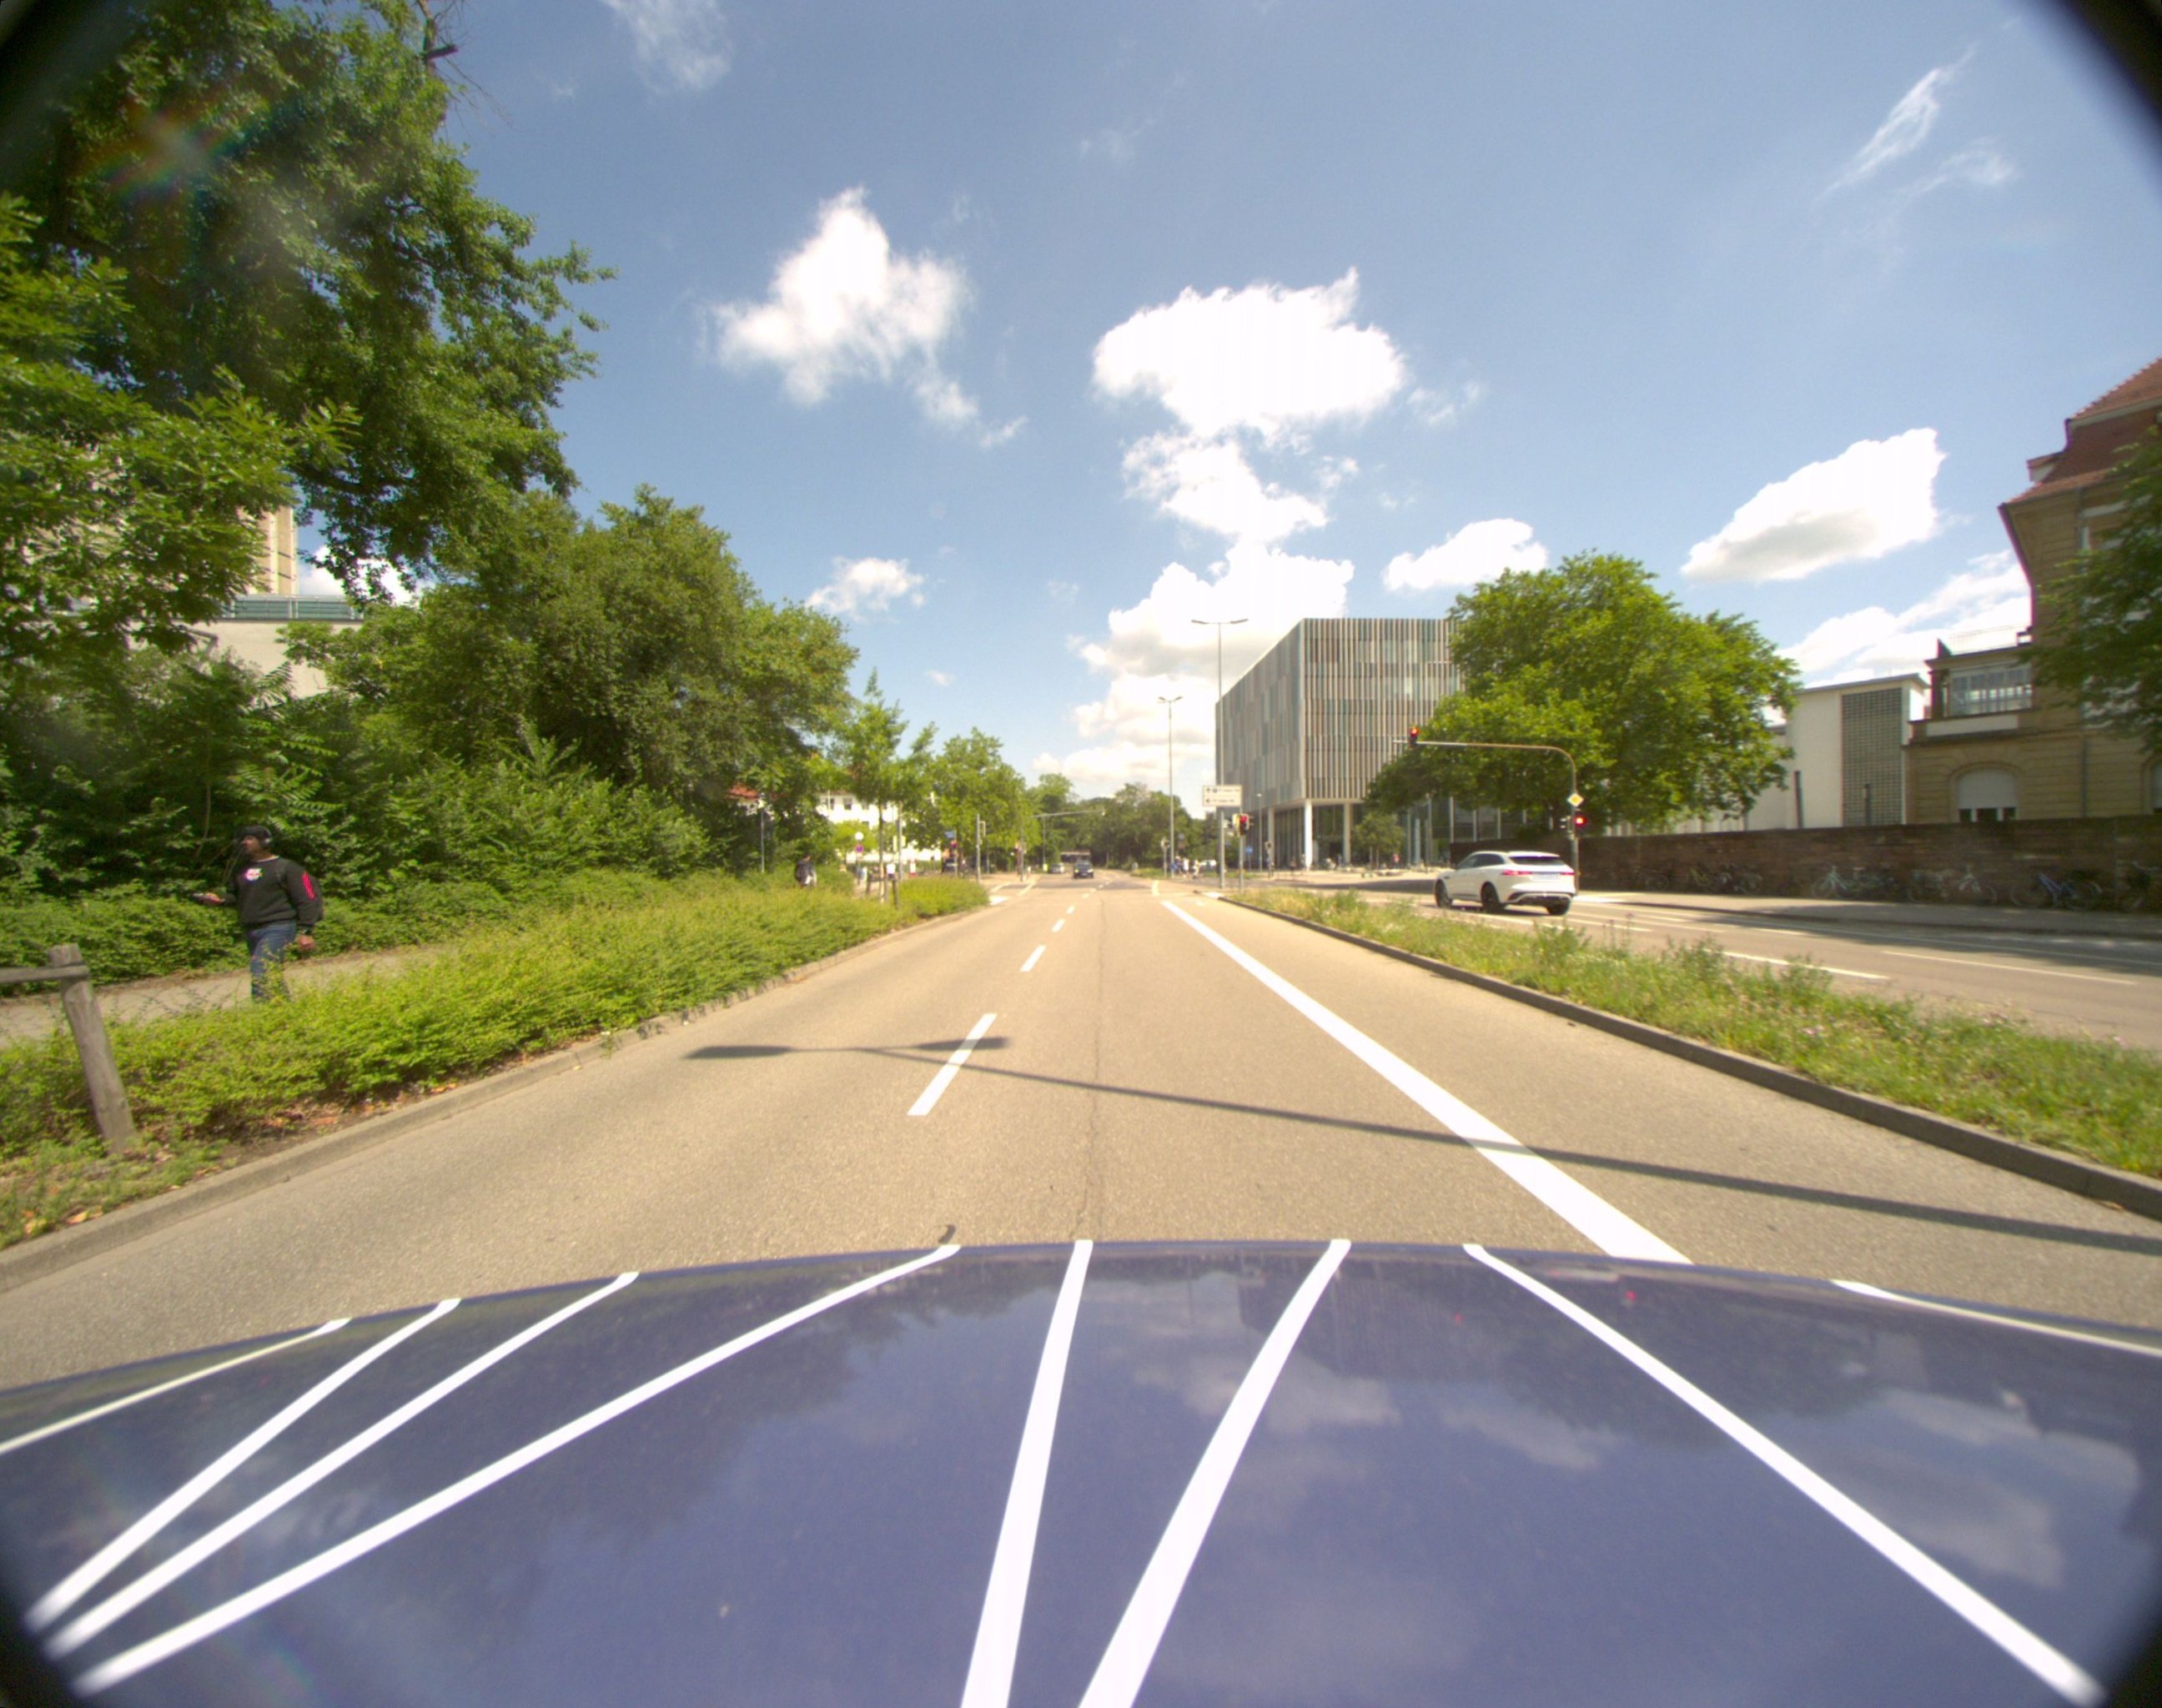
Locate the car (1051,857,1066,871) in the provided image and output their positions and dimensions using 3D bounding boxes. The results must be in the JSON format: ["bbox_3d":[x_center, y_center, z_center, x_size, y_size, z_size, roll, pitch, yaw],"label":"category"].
[{"bbox_3d":[-3.157,1.372,104.963,1.913,1.772,3.999,-1,0,-3],"label":"car"}]

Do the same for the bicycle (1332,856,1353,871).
[{"bbox_3d":[27.946,1.023,81.176,2.693,1.485,0.930,-1,0,-44],"label":"bicycle"}]

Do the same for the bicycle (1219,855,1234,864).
[{"bbox_3d":[24.188,0.942,126.039,2.302,1.486,0.657,-1,0,1],"label":"bicycle"}]

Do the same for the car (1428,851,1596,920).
[{"bbox_3d":[11.589,0.785,20.908,2.076,1.657,4.776,-1,0,2],"label":"car"}]

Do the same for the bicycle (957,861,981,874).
[{"bbox_3d":[-10.987,1.359,74.450,2.163,1.244,0.886,-1,0,6],"label":"bicycle"}]

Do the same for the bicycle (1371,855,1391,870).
[{"bbox_3d":[30.897,0.884,78.190,0.997,1.543,3.422,-1,0,38],"label":"bicycle"}]

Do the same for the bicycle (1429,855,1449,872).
[{"bbox_3d":[34.655,0.889,73.514,0.997,1.543,3.422,-1,0,38],"label":"bicycle"}]

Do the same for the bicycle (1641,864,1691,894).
[{"bbox_3d":[22.593,0.941,29.370,0.573,1.092,1.593,-1,0,-7],"label":"bicycle"}]

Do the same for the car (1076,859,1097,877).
[{"bbox_3d":[0.514,1.342,73.474,1.846,1.593,4.000,-1,0,-1],"label":"car"}]

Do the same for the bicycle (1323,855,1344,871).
[{"bbox_3d":[27.187,0.942,81.917,0.808,1.634,3.422,0,0,42],"label":"bicycle"}]

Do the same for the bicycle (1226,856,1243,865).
[{"bbox_3d":[24.133,1.004,119.244,2.511,1.486,0.621,-1,0,1],"label":"bicycle"}]

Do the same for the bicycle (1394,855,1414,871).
[{"bbox_3d":[32.480,0.887,76.368,0.997,1.543,3.422,-1,0,38],"label":"bicycle"}]

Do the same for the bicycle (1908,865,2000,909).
[{"bbox_3d":[23.419,0.866,20.413,0.403,1.145,1.590,-1,0,-32],"label":"bicycle"}]

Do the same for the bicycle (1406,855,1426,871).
[{"bbox_3d":[33.141,0.890,75.176,0.997,1.543,3.422,-1,0,38],"label":"bicycle"}]

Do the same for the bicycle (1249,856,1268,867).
[{"bbox_3d":[25.255,1.093,108.134,2.511,1.486,0.621,-1,0,1],"label":"bicycle"}]

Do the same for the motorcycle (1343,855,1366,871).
[{"bbox_3d":[28.902,0.915,80.214,3.305,1.630,0.969,0,0,-45],"label":"motorcycle"}]

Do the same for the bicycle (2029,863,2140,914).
[{"bbox_3d":[23.906,0.794,18.144,0.403,1.145,1.593,-1,0,-10],"label":"bicycle"}]

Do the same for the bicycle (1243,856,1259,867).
[{"bbox_3d":[24.686,1.080,110.338,2.200,1.486,0.621,-1,0,1],"label":"bicycle"}]

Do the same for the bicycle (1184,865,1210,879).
[{"bbox_3d":[8.390,1.303,54.747,2.168,0.992,0.645,-1,0,-44],"label":"bicycle"}]

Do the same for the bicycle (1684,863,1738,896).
[{"bbox_3d":[22.830,0.904,27.574,0.500,1.145,1.593,-1,0,-7],"label":"bicycle"}]

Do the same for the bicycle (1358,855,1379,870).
[{"bbox_3d":[30.010,0.883,79.237,1.049,1.543,3.422,-1,0,38],"label":"bicycle"}]

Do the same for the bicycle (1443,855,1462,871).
[{"bbox_3d":[35.683,0.855,72.978,0.997,1.543,3.422,-1,0,38],"label":"bicycle"}]

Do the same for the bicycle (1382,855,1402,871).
[{"bbox_3d":[31.665,0.884,77.301,0.997,1.543,3.422,-1,0,38],"label":"bicycle"}]

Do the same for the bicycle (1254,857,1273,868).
[{"bbox_3d":[25.063,1.128,104.556,2.509,1.486,0.730,-1,0,11],"label":"bicycle"}]

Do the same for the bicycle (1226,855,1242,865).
[{"bbox_3d":[24.465,0.980,121.423,2.330,1.486,0.621,-1,0,1],"label":"bicycle"}]

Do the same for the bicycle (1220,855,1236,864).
[{"bbox_3d":[24.079,0.954,124.753,2.511,1.486,0.621,-1,0,1],"label":"bicycle"}]

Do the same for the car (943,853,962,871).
[{"bbox_3d":[-15.161,0.917,89.957,2.000,2.042,4.226,-1,0,-7],"label":"car"}]

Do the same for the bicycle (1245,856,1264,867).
[{"bbox_3d":[24.504,1.110,107.244,2.511,1.486,0.621,-1,0,1],"label":"bicycle"}]

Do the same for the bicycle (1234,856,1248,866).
[{"bbox_3d":[24.523,1.023,116.676,2.071,1.486,0.621,-1,0,1],"label":"bicycle"}]

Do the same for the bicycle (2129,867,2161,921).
[{"bbox_3d":[23.881,0.869,16.273,0.534,1.145,1.591,-1,0,-21],"label":"bicycle"}]

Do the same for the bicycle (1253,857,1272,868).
[{"bbox_3d":[24.766,1.141,103.553,2.451,1.486,0.621,-1,0,1],"label":"bicycle"}]
